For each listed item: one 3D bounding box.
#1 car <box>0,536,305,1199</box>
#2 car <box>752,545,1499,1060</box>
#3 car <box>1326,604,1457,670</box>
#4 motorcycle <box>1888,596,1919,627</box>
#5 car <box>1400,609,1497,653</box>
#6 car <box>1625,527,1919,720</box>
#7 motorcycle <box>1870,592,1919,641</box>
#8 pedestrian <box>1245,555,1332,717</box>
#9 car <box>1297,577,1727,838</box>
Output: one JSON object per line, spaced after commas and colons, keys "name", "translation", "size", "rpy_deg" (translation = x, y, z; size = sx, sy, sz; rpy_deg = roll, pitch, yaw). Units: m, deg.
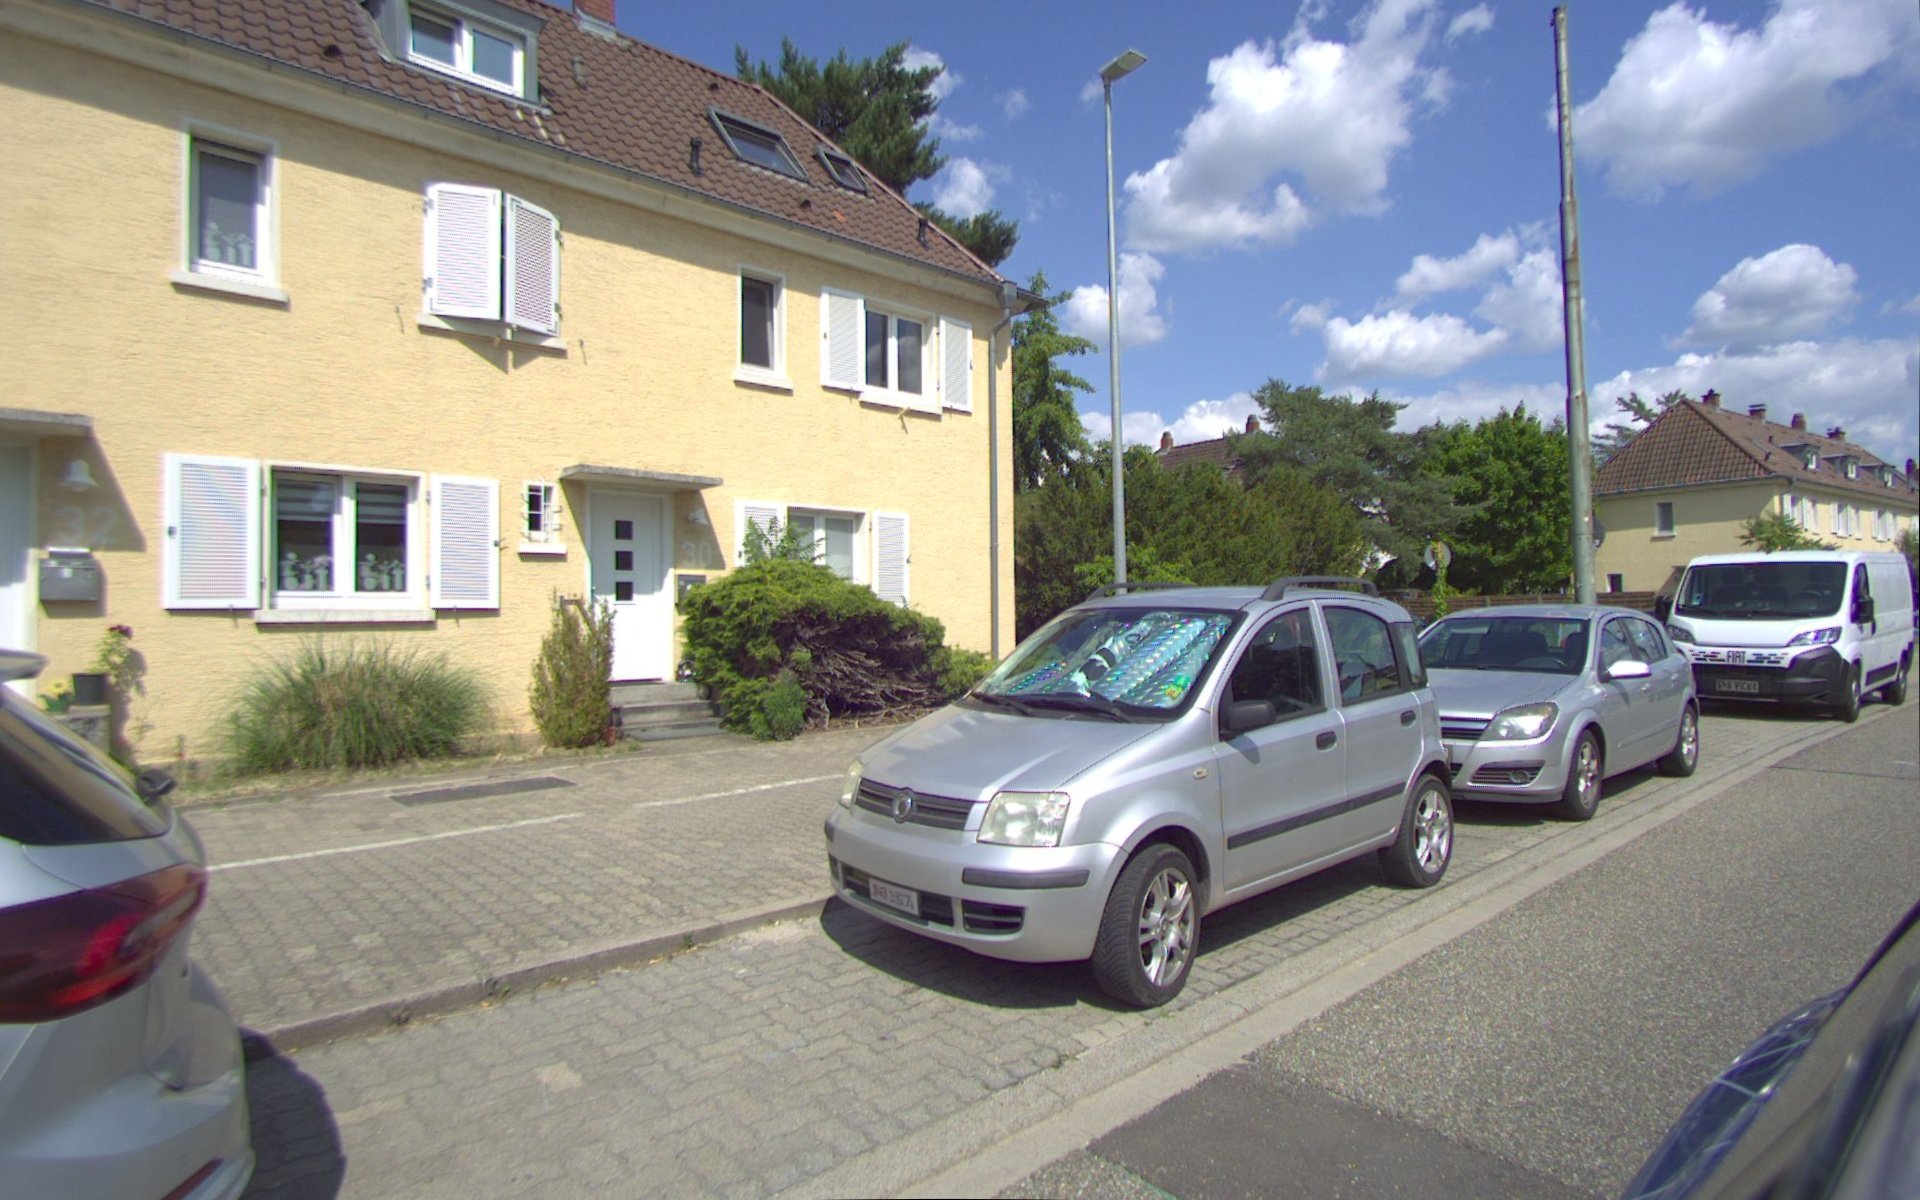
{"name": "car", "translation": [-3.227, 0.681, 0.829], "size": [4.311, 1.516, 1.752], "rpy_deg": [0, 0, -43]}
{"name": "car", "translation": [1.039, 0.622, 4.956], "size": [3.743, 1.570, 1.630], "rpy_deg": [0, -1, -42]}
{"name": "car", "translation": [11.358, 0.925, 26.554], "size": [3.742, 1.567, 1.630], "rpy_deg": [-1, -1, -41]}
{"name": "motorcycle", "translation": [38.557, 0.452, 40.279], "size": [0.837, 1.212, 2.236], "rpy_deg": [0, -1, -32]}
{"name": "car", "translation": [16.753, 1.053, 34.633], "size": [3.863, 1.416, 1.563], "rpy_deg": [2, -2, -41]}
{"name": "car", "translation": [11.975, 0.284, 14.463], "size": [6.251, 2.210, 2.282], "rpy_deg": [0, -1, -38]}
{"name": "motorcycle", "translation": [30.273, 0.514, 32.484], "size": [2.536, 1.488, 1.050], "rpy_deg": [0, 1, -36]}
{"name": "pedestrian", "translation": [4.302, 0.461, 13.254], "size": [0.748, 2.039, 0.774], "rpy_deg": [1, -2, -40]}
{"name": "car", "translation": [4.515, 0.637, 7.983], "size": [4.182, 1.523, 1.709], "rpy_deg": [0, -1, -42]}
